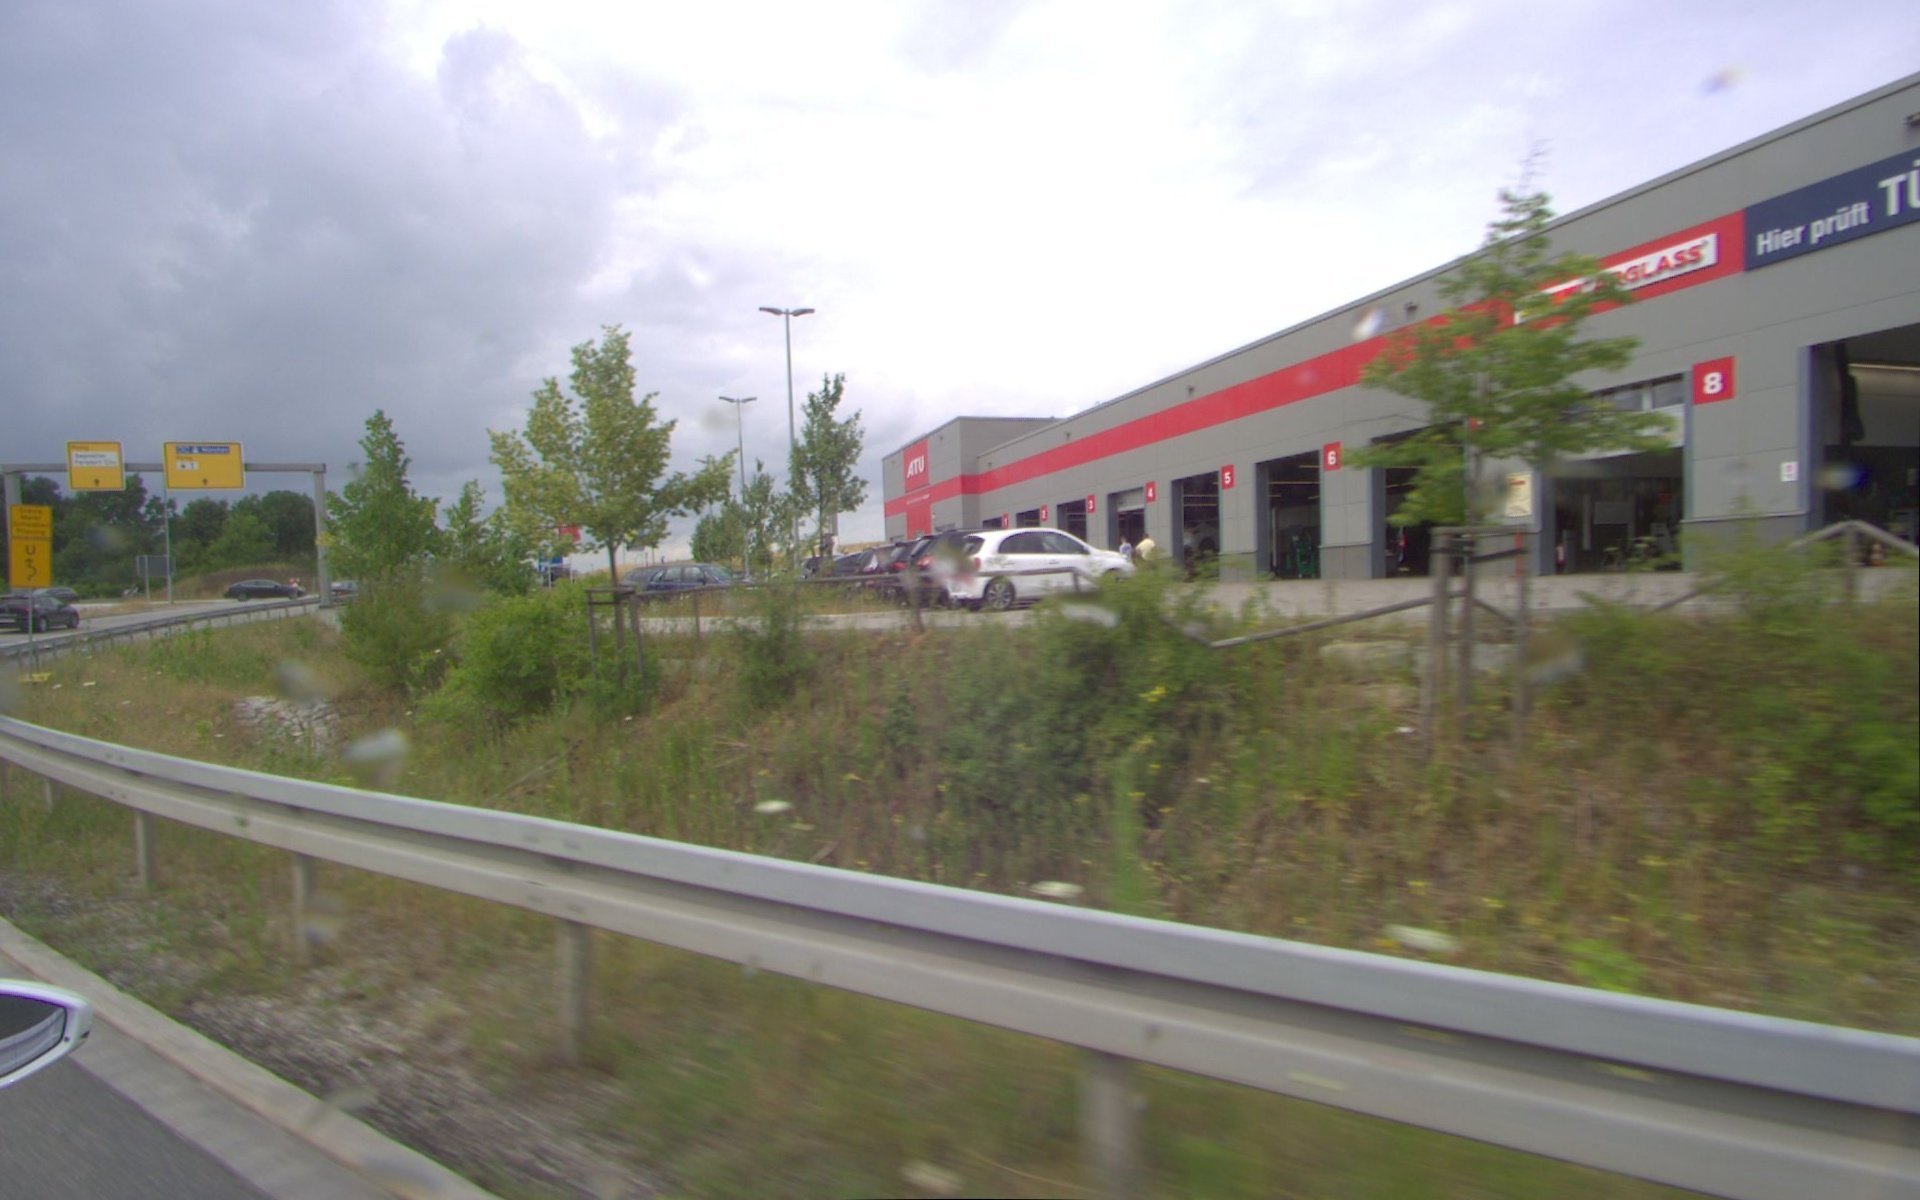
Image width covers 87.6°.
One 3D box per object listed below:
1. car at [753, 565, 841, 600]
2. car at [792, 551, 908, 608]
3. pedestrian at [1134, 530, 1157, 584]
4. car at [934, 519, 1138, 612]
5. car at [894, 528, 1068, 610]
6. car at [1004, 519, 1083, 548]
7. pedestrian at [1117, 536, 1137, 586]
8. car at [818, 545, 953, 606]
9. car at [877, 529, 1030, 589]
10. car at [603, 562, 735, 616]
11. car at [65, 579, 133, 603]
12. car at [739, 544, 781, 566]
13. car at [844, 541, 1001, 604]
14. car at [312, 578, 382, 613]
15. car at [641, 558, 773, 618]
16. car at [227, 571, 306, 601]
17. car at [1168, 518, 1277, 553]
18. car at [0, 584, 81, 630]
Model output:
[{"bbox_3d":[-7.810,-0.849,48.050,3.897,1.408,1.592,-4,2,-18],"label":"car"},{"bbox_3d":[-3.997,-0.747,36.280,3.795,1.844,1.716,-4,1,-21],"label":"car"},{"bbox_3d":[6.232,-1.443,33.604,0.662,1.766,0.630,-1,2,3],"label":"pedestrian"},{"bbox_3d":[1.457,-0.680,19.575,3.564,1.559,1.640,-4,2,-18],"label":"car"},{"bbox_3d":[0.432,-0.676,21.779,3.385,1.657,1.728,-2,1,-17],"label":"car"},{"bbox_3d":[4.430,-3.543,53.278,3.843,1.537,1.791,-1,4,-17],"label":"car"},{"bbox_3d":[6.004,-1.398,36.095,0.625,1.765,0.592,-1,2,4],"label":"pedestrian"},{"bbox_3d":[-2.331,-0.758,31.277,3.829,1.651,1.716,-4,1,-21],"label":"car"},{"bbox_3d":[-0.168,-0.990,24.393,3.385,1.352,1.640,-2,1,-17],"label":"car"},{"bbox_3d":[-11.024,-0.428,38.000,4.472,1.757,1.827,-3,2,19],"label":"car"},{"bbox_3d":[-70.734,-0.763,82.341,1.824,1.689,4.157,-2,4,2],"label":"car"},{"bbox_3d":[-15.793,-3.536,78.933,1.677,1.567,3.628,-2,0,-40],"label":"car"},{"bbox_3d":[-1.002,-0.743,26.765,3.823,1.559,1.670,-2,2,-25],"label":"car"},{"bbox_3d":[-35.508,-0.292,58.122,1.627,1.863,3.954,-2,2,-1],"label":"car"},{"bbox_3d":[-7.972,-0.373,31.575,3.704,1.660,1.662,-3,2,23],"label":"car"},{"bbox_3d":[-45.387,-0.918,65.631,4.099,1.807,1.890,-3,3,-33],"label":"car"},{"bbox_3d":[10.303,-2.498,39.377,3.843,1.241,1.658,-1,0,-17],"label":"car"},{"bbox_3d":[-35.510,0.247,38.241,1.845,1.627,3.719,-2,1,-25],"label":"car"}]
